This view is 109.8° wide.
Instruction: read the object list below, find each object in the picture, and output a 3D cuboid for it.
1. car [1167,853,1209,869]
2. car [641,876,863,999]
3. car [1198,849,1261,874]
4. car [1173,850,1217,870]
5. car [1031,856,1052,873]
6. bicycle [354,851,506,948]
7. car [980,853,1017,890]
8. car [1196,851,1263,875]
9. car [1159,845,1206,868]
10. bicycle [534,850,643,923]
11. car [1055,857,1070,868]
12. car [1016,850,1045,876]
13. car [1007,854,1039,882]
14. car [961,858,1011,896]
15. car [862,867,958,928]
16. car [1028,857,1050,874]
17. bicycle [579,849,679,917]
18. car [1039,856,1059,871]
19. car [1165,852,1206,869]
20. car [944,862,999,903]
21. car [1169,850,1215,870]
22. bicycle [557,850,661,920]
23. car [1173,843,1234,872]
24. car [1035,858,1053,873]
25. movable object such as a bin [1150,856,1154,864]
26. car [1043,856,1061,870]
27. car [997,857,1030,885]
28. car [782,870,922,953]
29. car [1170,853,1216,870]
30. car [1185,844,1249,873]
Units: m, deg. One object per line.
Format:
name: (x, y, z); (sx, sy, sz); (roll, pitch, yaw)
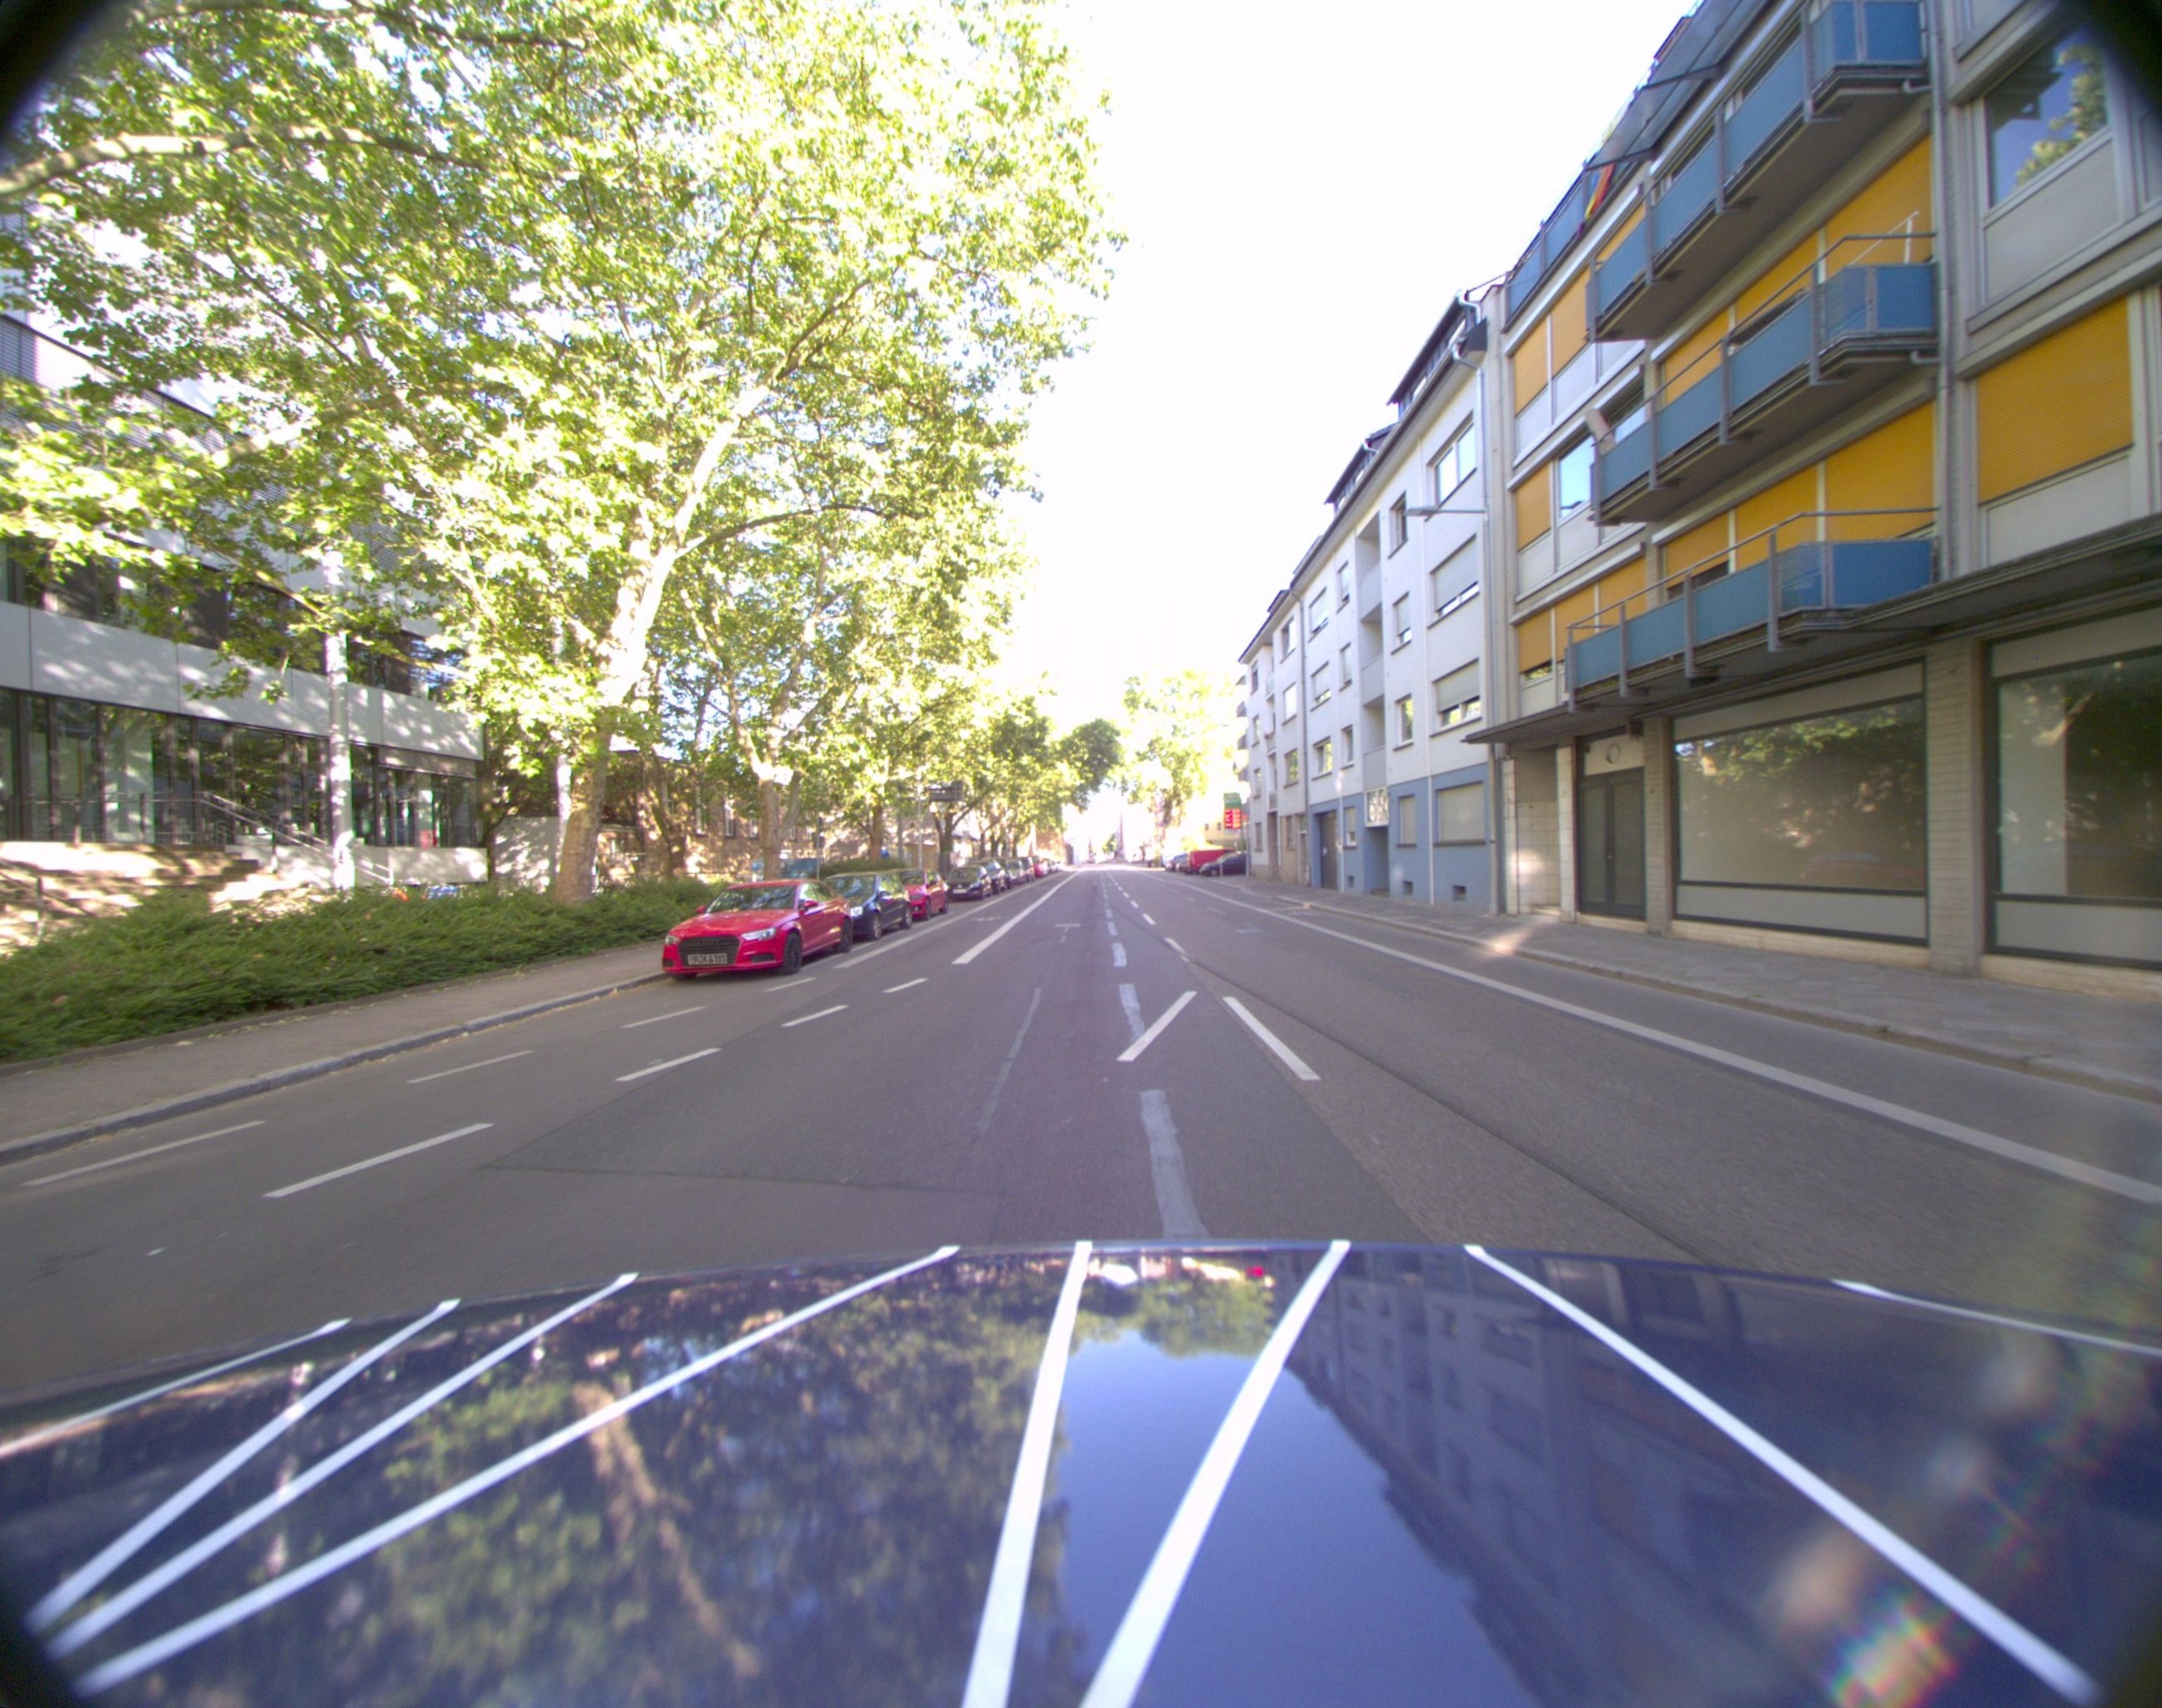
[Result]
car: (10.874, 0.678, 77.382); (3.997, 1.424, 1.853); (-3, 0, 1)
car: (-5.106, 1.199, 12.545); (1.697, 1.441, 4.435); (-4, 0, -1)
car: (10.827, 0.526, 55.747); (4.183, 1.554, 1.886); (-4, 0, 1)
car: (10.399, 0.531, 69.348); (3.694, 1.504, 1.831); (-4, 0, 1)
car: (-3.827, 1.062, 74.829); (1.860, 1.502, 3.929); (-4, 0, -1)
bicycle: (-14.017, 0.957, 16.405); (2.604, 2.002, 0.742); (-1, 1, 1)
car: (-4.659, 0.960, 42.810); (1.830, 1.830, 4.896); (-4, 0, -7)
car: (10.429, 0.622, 53.612); (4.239, 1.372, 2.046); (-3, 1, 1)
car: (11.227, 0.276, 84.097); (4.856, 2.204, 2.140); (-3, 0, 1)
bicycle: (-14.031, 0.910, 21.678); (2.604, 2.002, 0.742); (-1, 1, 1)
car: (-2.496, 1.139, 101.883); (1.860, 1.428, 4.969); (-2, 0, -2)
car: (-4.277, 0.757, 65.477); (2.083, 1.982, 5.171); (-3, 0, -1)
car: (-4.095, 0.964, 54.138); (1.697, 1.802, 4.130); (-4, 0, 3)
car: (-4.559, 1.059, 37.083); (1.780, 1.618, 4.620); (-4, 0, 0)
car: (-4.968, 1.204, 22.651); (1.697, 1.470, 4.318); (-4, 0, 1)
car: (-3.858, 1.027, 70.290); (1.641, 1.476, 3.760); (-4, 0, 3)
bicycle: (-13.953, 0.890, 23.507); (2.604, 2.002, 0.742); (-1, 1, 1)
car: (-3.569, 1.072, 85.351); (1.860, 1.513, 4.599); (-3, 0, 1)
car: (10.950, 0.676, 79.508); (3.997, 1.550, 1.853); (-3, 0, 1)
car: (-4.519, 1.147, 31.906); (1.697, 1.495, 4.019); (-4, 0, -1)
car: (10.922, 0.582, 74.848); (4.204, 1.674, 2.028); (-3, 0, 1)
bicycle: (-14.005, 0.901, 22.578); (2.604, 2.002, 0.742); (-1, 1, 1)
car: (9.930, 0.274, 61.625); (4.533, 1.940, 2.057); (-4, 0, 1)
car: (-3.872, 1.160, 79.349); (1.617, 1.466, 3.493); (-4, 0, 1)
movable object such as a bin: (10.657, 0.913, 114.081); (0.595, 1.065, 0.644); (-1, 0, 1)
car: (-3.428, 1.082, 91.236); (1.860, 1.514, 4.297); (-3, 0, 1)
car: (-4.369, 1.055, 49.603); (1.697, 1.618, 4.329); (-4, 0, -1)
car: (-5.010, 1.193, 17.230); (1.697, 1.458, 4.066); (-4, 0, 2)
car: (10.522, 0.691, 71.605); (3.997, 1.447, 1.916); (-3, 0, 1)
car: (10.479, 0.335, 58.812); (4.432, 1.940, 2.146); (-4, 0, 1)
